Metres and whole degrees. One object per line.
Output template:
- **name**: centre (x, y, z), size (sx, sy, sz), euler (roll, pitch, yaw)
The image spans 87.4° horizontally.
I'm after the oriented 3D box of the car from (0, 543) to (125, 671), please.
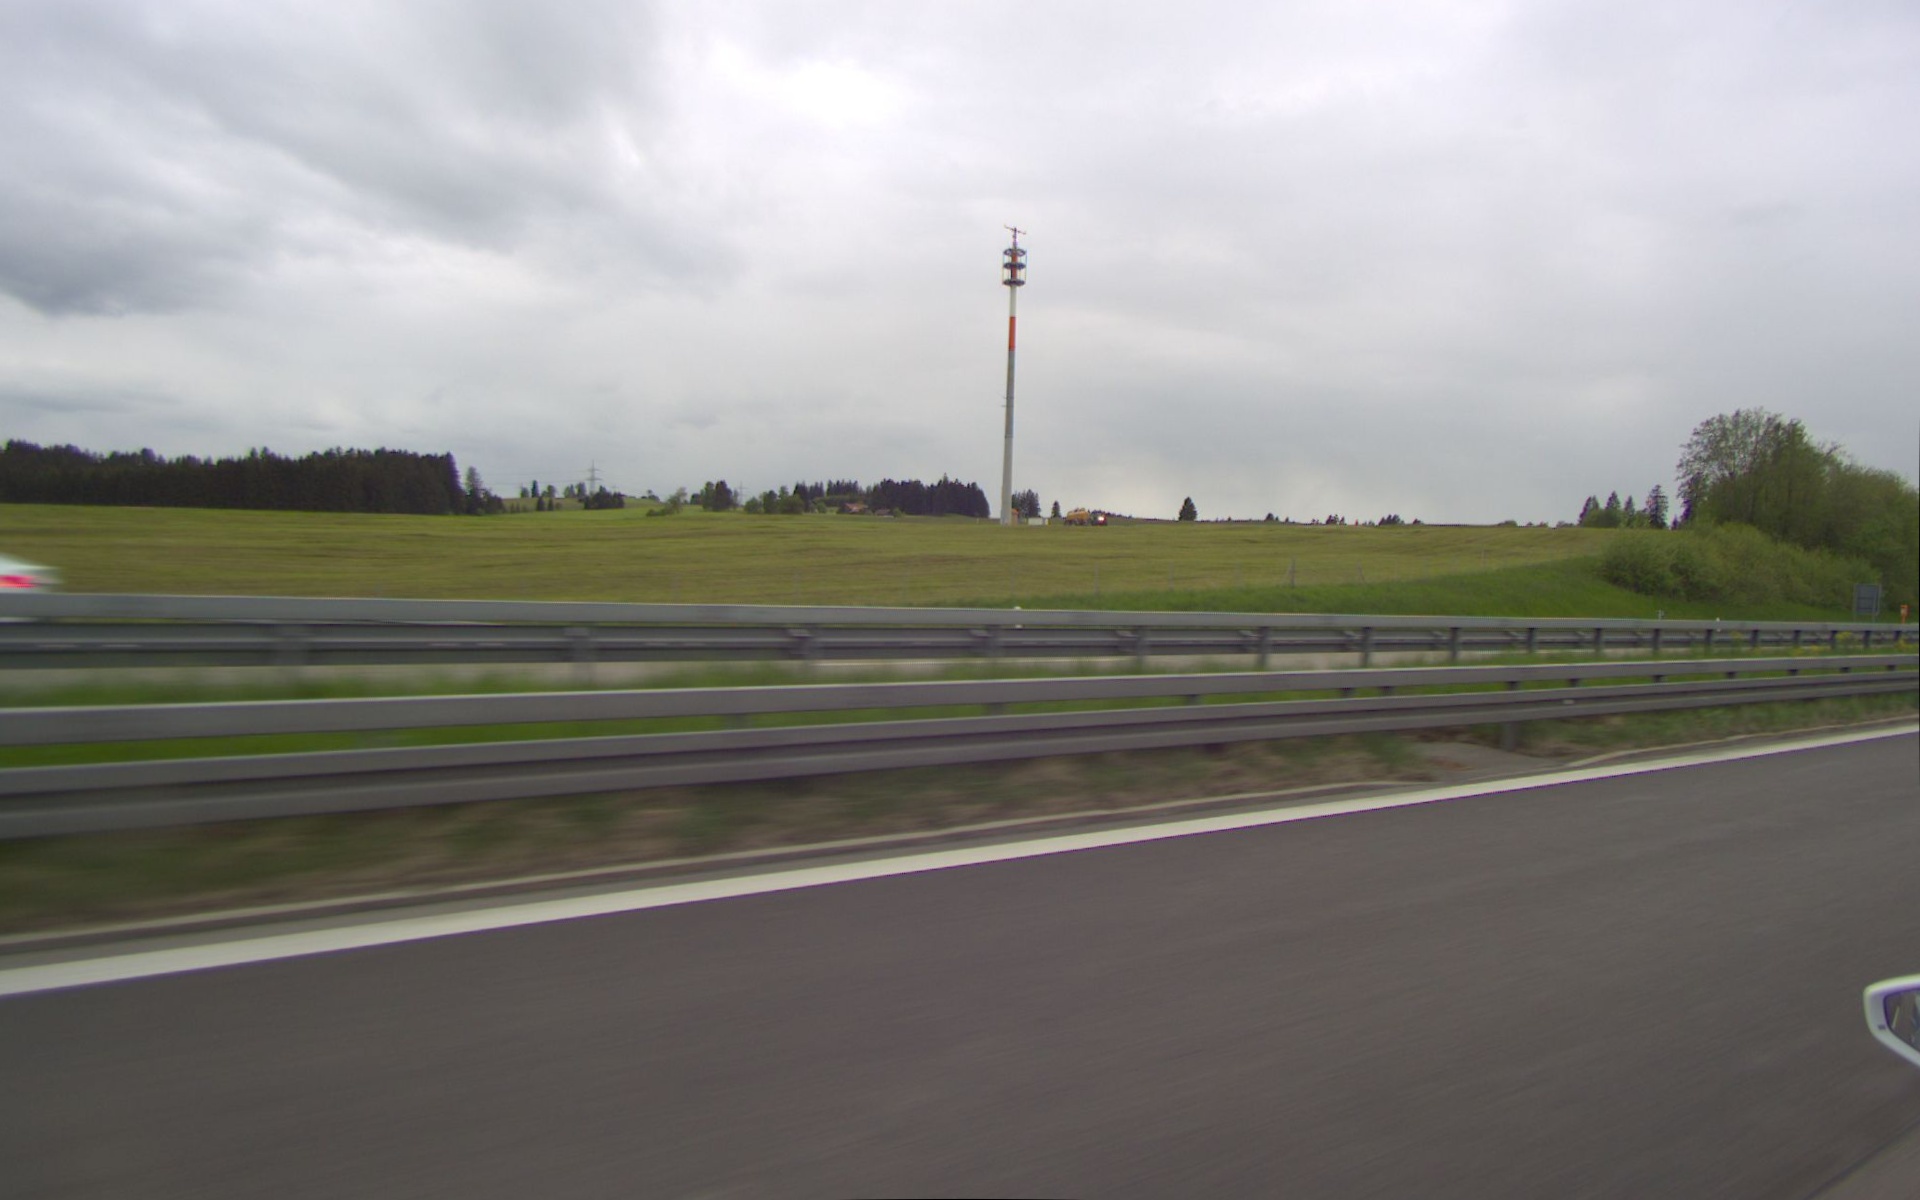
- **car**: centre (-15.010, 0.042, 13.906), size (4.996, 1.713, 2.025), euler (1, 3, -30)
